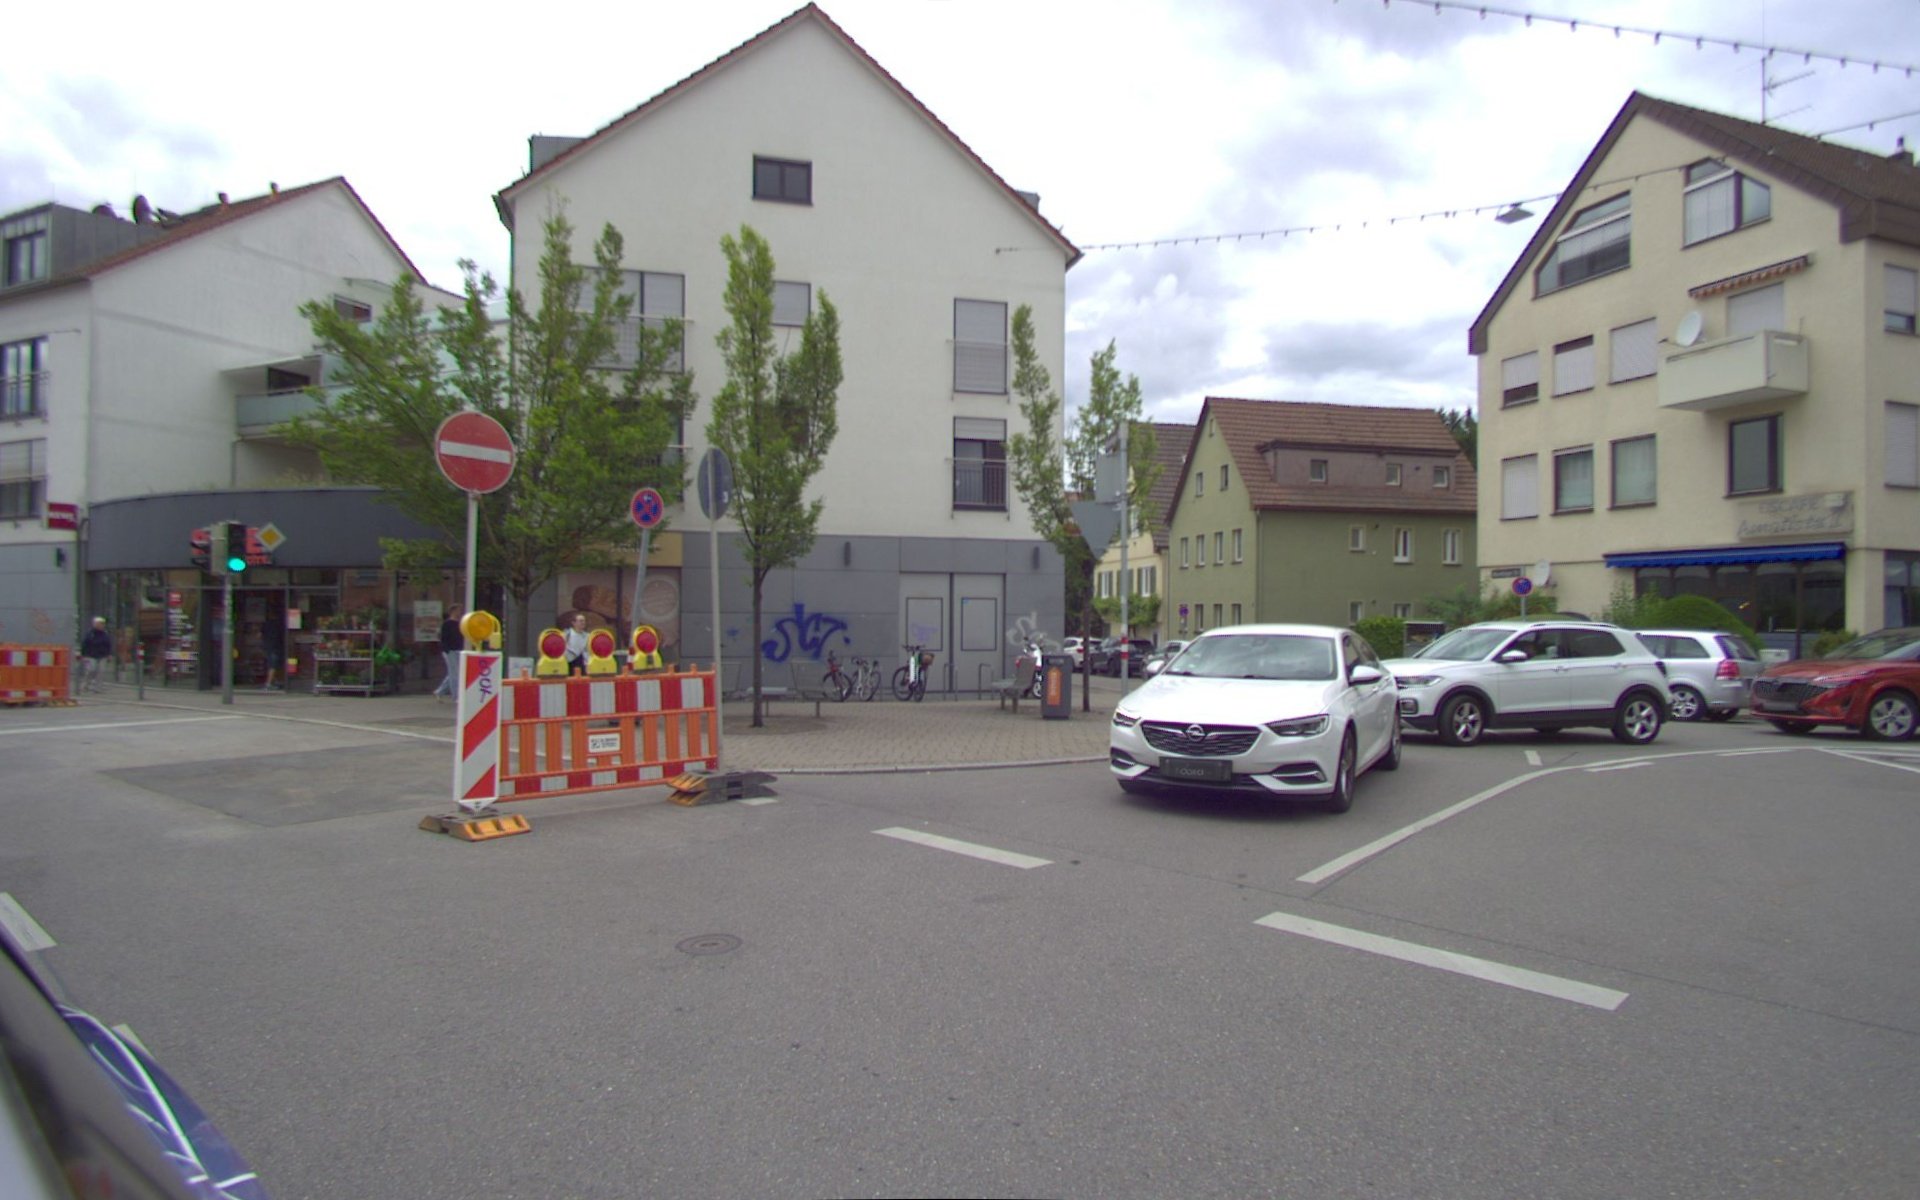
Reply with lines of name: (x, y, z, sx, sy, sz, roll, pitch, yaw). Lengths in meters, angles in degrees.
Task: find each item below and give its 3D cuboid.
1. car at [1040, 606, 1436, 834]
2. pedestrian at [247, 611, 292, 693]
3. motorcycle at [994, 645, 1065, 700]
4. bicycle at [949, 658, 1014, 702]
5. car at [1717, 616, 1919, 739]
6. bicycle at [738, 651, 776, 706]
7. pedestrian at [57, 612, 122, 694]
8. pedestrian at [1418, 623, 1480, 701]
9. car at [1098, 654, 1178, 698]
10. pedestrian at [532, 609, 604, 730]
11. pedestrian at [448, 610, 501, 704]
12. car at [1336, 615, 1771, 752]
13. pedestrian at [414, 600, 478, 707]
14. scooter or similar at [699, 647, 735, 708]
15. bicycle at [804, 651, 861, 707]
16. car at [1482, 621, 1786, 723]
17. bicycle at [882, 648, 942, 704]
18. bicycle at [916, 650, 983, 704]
car: (2.862, 0.833, 9.383, 2.242, 1.488, 4.865, -1, -1, 32)
pedestrian: (-16.117, 1.203, 23.634, 0.776, 1.858, 0.756, 1, -2, -41)
motorcycle: (1.483, 1.540, 21.977, 0.789, 1.113, 1.961, 1, -2, -21)
bicycle: (0.422, 1.701, 21.625, 0.618, 0.873, 2.081, 0, -4, -21)
car: (13.957, 1.020, 14.356, 4.850, 1.569, 2.021, -1, -1, 0)
bicycle: (-4.065, 1.577, 20.188, 0.522, 1.054, 1.750, 1, -6, -18)
pedestrian: (-18.843, 1.127, 21.912, 0.813, 1.726, 0.826, -1, -2, 31)
pedestrian: (10.784, 1.353, 22.352, 0.940, 1.682, 0.771, 0, -2, -4)
car: (4.185, 1.766, 23.963, 0.964, 0.948, 1.934, 1, -2, -23)
pedestrian: (-5.421, 0.932, 13.982, 0.672, 1.604, 0.880, 1, -2, -39)
pedestrian: (-9.558, 1.113, 19.942, 0.708, 1.804, 0.694, -1, -1, 0)
car: (7.857, 1.024, 13.602, 4.839, 1.569, 2.026, -1, -1, -10)
pedestrian: (-9.571, 0.992, 18.867, 0.774, 1.940, 0.816, -1, -1, 3)
scooter or similar: (-4.826, 1.517, 20.062, 0.587, 1.132, 1.537, 0, -2, -18)
bicycle: (-2.581, 1.575, 20.350, 0.738, 1.054, 2.158, 1, -4, -18)
car: (12.283, 1.233, 18.654, 1.970, 1.652, 4.332, 2, -3, -43)
bicycle: (-1.020, 1.542, 20.791, 0.798, 1.082, 1.966, 1, -3, -16)
bicycle: (-0.254, 1.608, 21.228, 0.681, 1.069, 2.133, 0, -4, -21)
